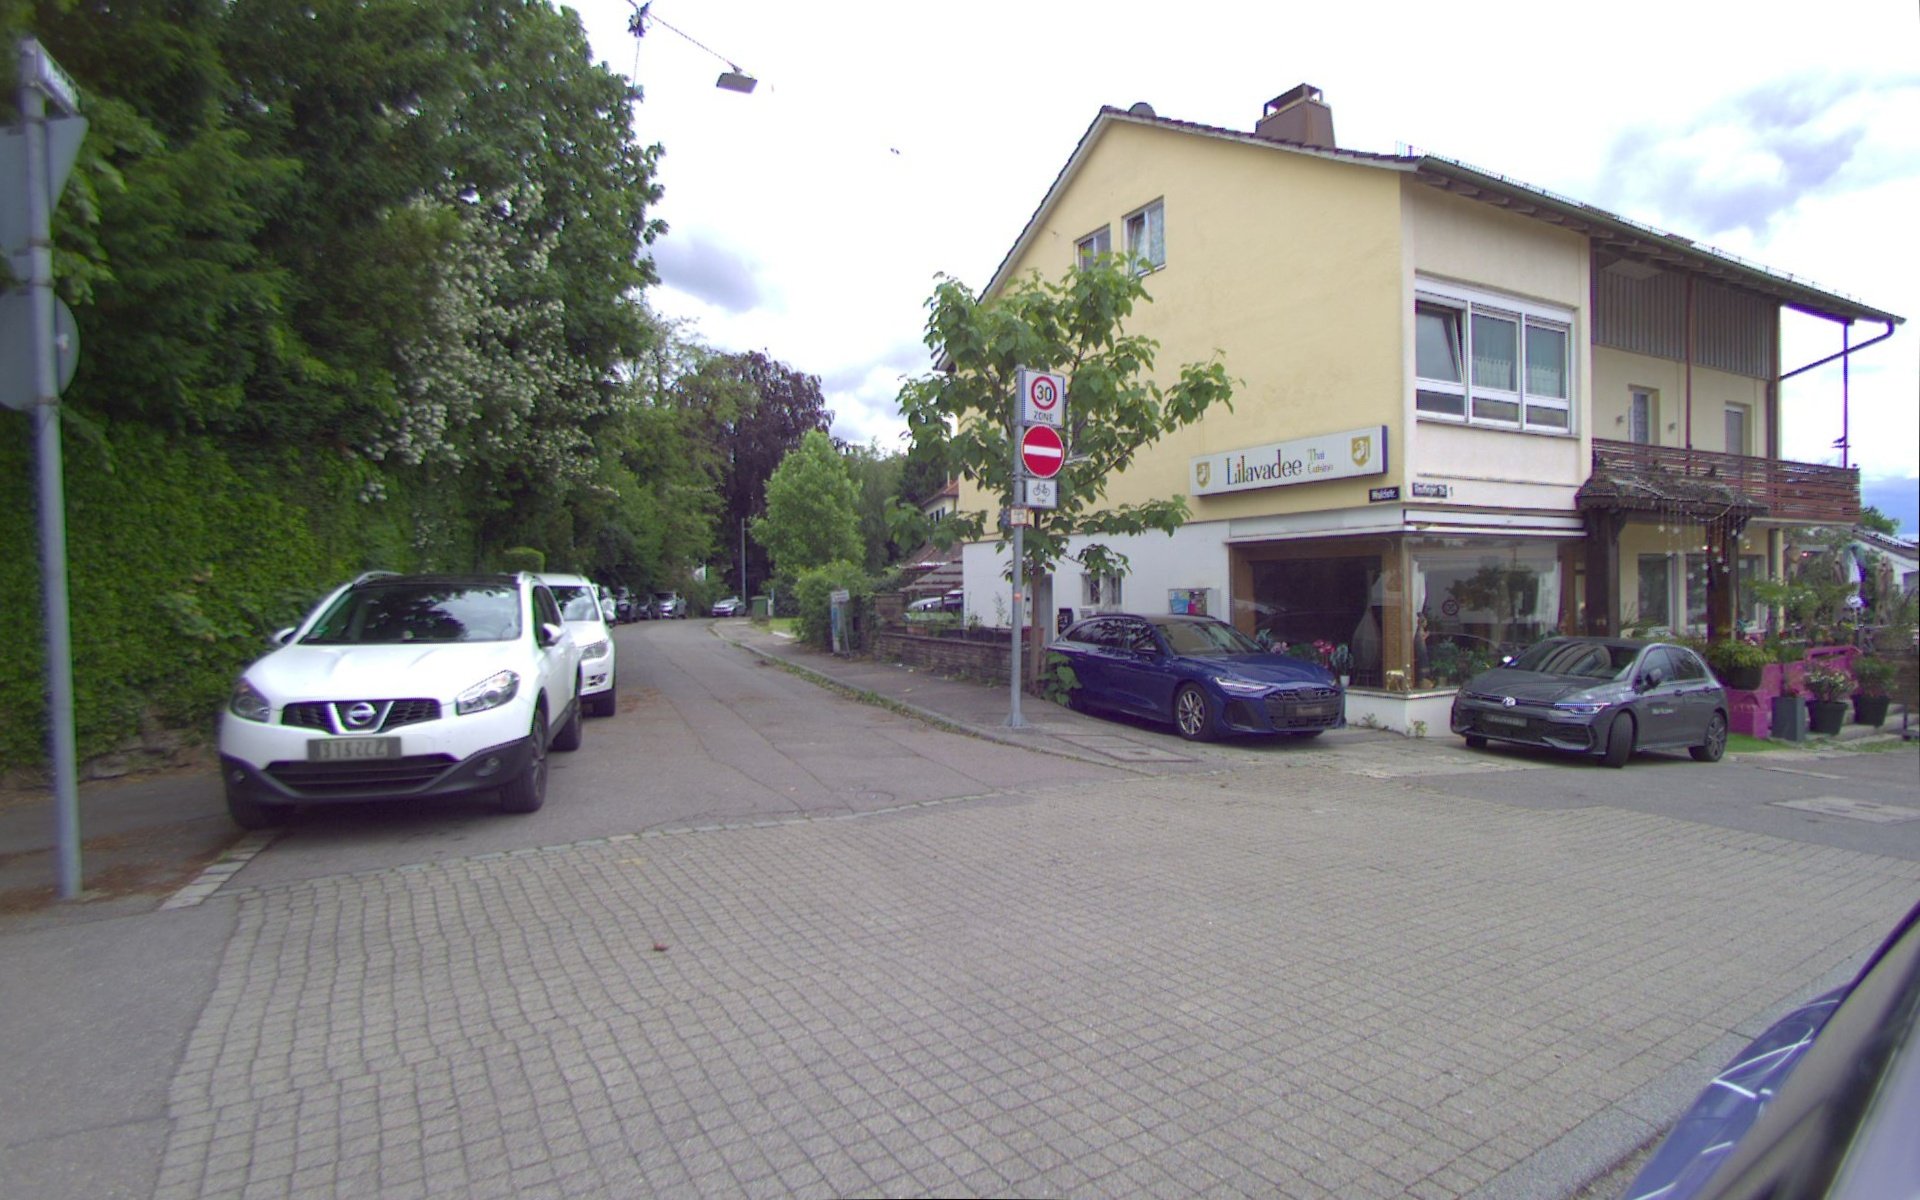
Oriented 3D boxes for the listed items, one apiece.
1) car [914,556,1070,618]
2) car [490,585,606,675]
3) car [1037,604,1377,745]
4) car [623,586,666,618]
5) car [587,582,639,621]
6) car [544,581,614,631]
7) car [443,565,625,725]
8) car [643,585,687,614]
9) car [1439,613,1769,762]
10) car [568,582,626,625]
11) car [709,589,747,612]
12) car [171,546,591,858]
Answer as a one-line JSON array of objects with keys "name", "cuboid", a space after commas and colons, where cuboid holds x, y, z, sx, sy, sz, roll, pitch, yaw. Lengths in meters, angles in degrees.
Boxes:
[{"name": "car", "cuboid": [0.946, -0.360, 30.269, 4.235, 1.480, 1.802, 4, -2, -19]}, {"name": "car", "cuboid": [-7.494, 0.457, 18.649, 1.761, 1.441, 4.080, -1, 1, -20]}, {"name": "car", "cuboid": [2.921, 0.826, 13.216, 1.761, 1.405, 4.758, 2, 0, -23]}, {"name": "car", "cuboid": [-15.906, 0.072, 51.120, 1.542, 1.502, 3.479, -1, 1, -8]}, {"name": "car", "cuboid": [-14.198, 0.043, 41.533, 1.542, 1.502, 3.481, -1, 1, -11]}, {"name": "car", "cuboid": [-12.209, 0.137, 32.599, 1.542, 1.502, 3.745, -1, 1, -11]}, {"name": "car", "cuboid": [-5.171, 0.433, 12.616, 1.761, 1.643, 4.080, -1, 1, -20]}, {"name": "car", "cuboid": [-16.229, -0.043, 55.802, 1.543, 1.502, 3.476, 0, 1, -3]}, {"name": "car", "cuboid": [7.949, 1.063, 12.376, 4.242, 1.480, 1.800, 5, -2, -34]}, {"name": "car", "cuboid": [-13.414, 0.102, 37.553, 1.542, 1.502, 3.481, -1, 1, -11]}, {"name": "car", "cuboid": [-16.335, 0.025, 71.465, 1.547, 1.502, 3.468, 0, 1, 7]}, {"name": "car", "cuboid": [-3.862, 0.506, 7.561, 1.761, 1.643, 4.144, -1, 1, -16]}]
